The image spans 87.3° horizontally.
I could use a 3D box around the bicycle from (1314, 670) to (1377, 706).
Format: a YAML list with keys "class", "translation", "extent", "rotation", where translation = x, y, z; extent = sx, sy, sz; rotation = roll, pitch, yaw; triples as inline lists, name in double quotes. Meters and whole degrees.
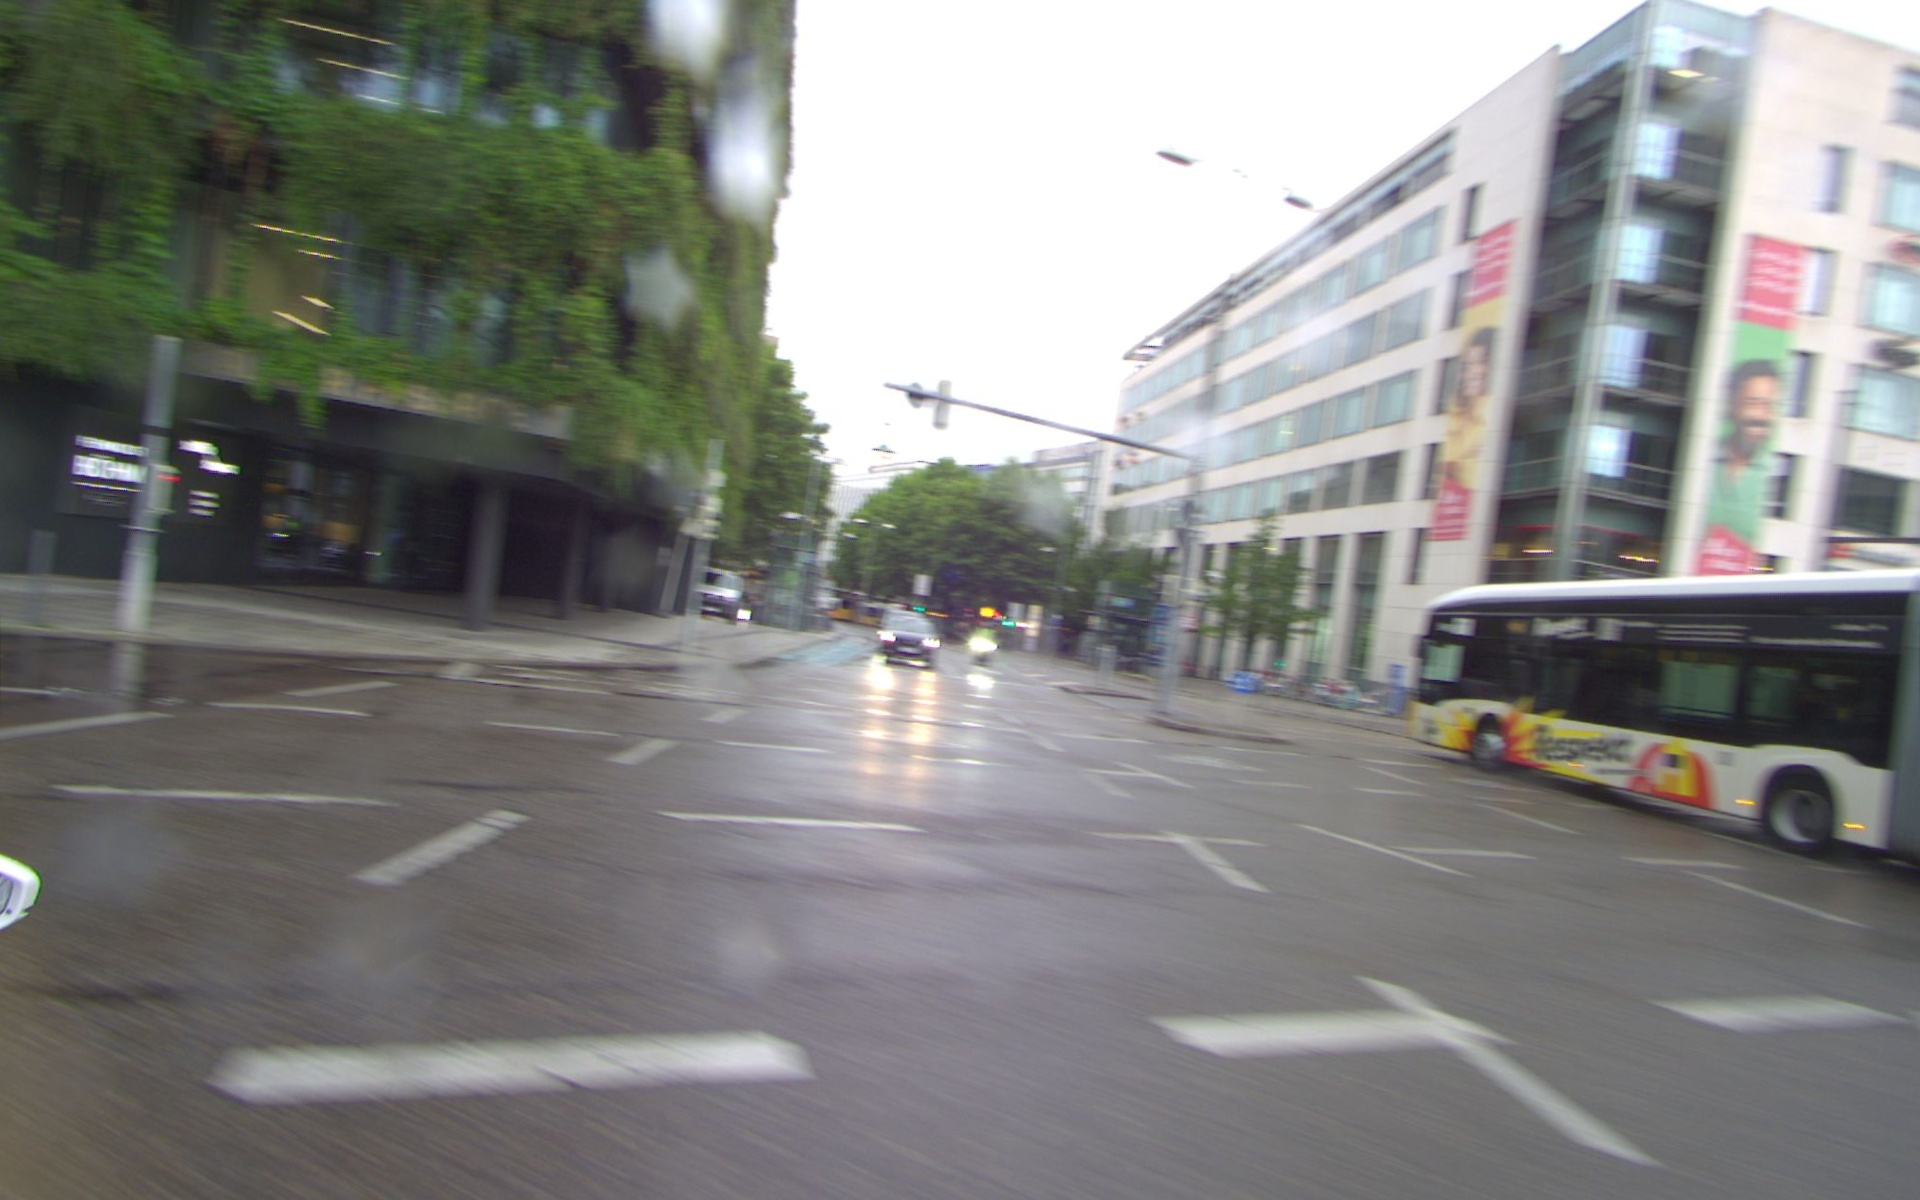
- class: "bicycle"
  translation: [15.695, 3.587, 40.954]
  extent: [2.307, 1.111, 0.489]
  rotation: [8, 0, -6]

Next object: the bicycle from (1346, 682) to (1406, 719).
- class: "bicycle"
  translation: [15.907, 3.853, 38.488]
  extent: [1.963, 1.111, 0.490]
  rotation: [8, 0, 6]

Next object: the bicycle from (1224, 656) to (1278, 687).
- class: "bicycle"
  translation: [13.548, 3.340, 46.816]
  extent: [2.307, 1.111, 0.489]
  rotation: [8, 0, -6]

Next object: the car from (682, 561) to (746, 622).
- class: "car"
  translation: [-9.679, -0.342, 39.876]
  extent: [2.085, 1.979, 4.859]
  rotation: [8, -1, -12]

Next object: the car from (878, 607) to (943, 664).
- class: "car"
  translation: [-1.614, 1.138, 32.651]
  extent: [1.795, 1.516, 4.203]
  rotation: [7, -2, -3]

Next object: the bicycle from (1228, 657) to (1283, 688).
- class: "bicycle"
  translation: [13.599, 3.347, 46.304]
  extent: [2.307, 1.112, 0.489]
  rotation: [8, 1, -6]

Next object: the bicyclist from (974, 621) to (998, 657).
- class: "bicyclist"
  translation: [1.050, 1.579, 41.050]
  extent: [0.781, 1.352, 0.743]
  rotation: [7, 0, -2]

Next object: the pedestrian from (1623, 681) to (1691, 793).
- class: "pedestrian"
  translation: [13.259, 2.591, 19.141]
  extent: [0.815, 1.960, 0.706]
  rotation: [7, 0, 39]

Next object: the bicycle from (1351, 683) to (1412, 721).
- class: "bicycle"
  translation: [15.881, 3.842, 37.933]
  extent: [1.967, 1.111, 0.490]
  rotation: [8, 0, 6]

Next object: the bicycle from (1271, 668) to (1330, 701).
- class: "bicycle"
  translation: [14.792, 3.661, 43.688]
  extent: [2.307, 1.111, 0.489]
  rotation: [8, 0, -6]

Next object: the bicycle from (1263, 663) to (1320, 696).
- class: "bicycle"
  translation: [14.696, 3.517, 44.652]
  extent: [2.307, 1.111, 0.489]
  rotation: [8, 0, -6]

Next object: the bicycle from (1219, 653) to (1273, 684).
- class: "bicycle"
  translation: [13.592, 3.256, 47.816]
  extent: [2.307, 1.111, 0.489]
  rotation: [8, 0, -6]

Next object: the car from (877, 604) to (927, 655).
- class: "car"
  translation: [-2.429, 1.235, 42.323]
  extent: [1.795, 1.779, 4.776]
  rotation: [7, -2, -3]

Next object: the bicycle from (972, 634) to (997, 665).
- class: "bicycle"
  translation: [0.981, 2.008, 41.077]
  extent: [0.794, 1.149, 2.091]
  rotation: [7, -1, -1]

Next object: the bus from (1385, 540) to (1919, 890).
- class: "bus"
  translation: [10.754, 1.352, 15.593]
  extent: [2.640, 3.631, 10.313]
  rotation: [8, -1, -6]

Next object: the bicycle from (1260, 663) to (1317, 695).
- class: "bicycle"
  translation: [14.781, 3.545, 45.300]
  extent: [2.307, 1.111, 0.489]
  rotation: [8, 0, -6]
